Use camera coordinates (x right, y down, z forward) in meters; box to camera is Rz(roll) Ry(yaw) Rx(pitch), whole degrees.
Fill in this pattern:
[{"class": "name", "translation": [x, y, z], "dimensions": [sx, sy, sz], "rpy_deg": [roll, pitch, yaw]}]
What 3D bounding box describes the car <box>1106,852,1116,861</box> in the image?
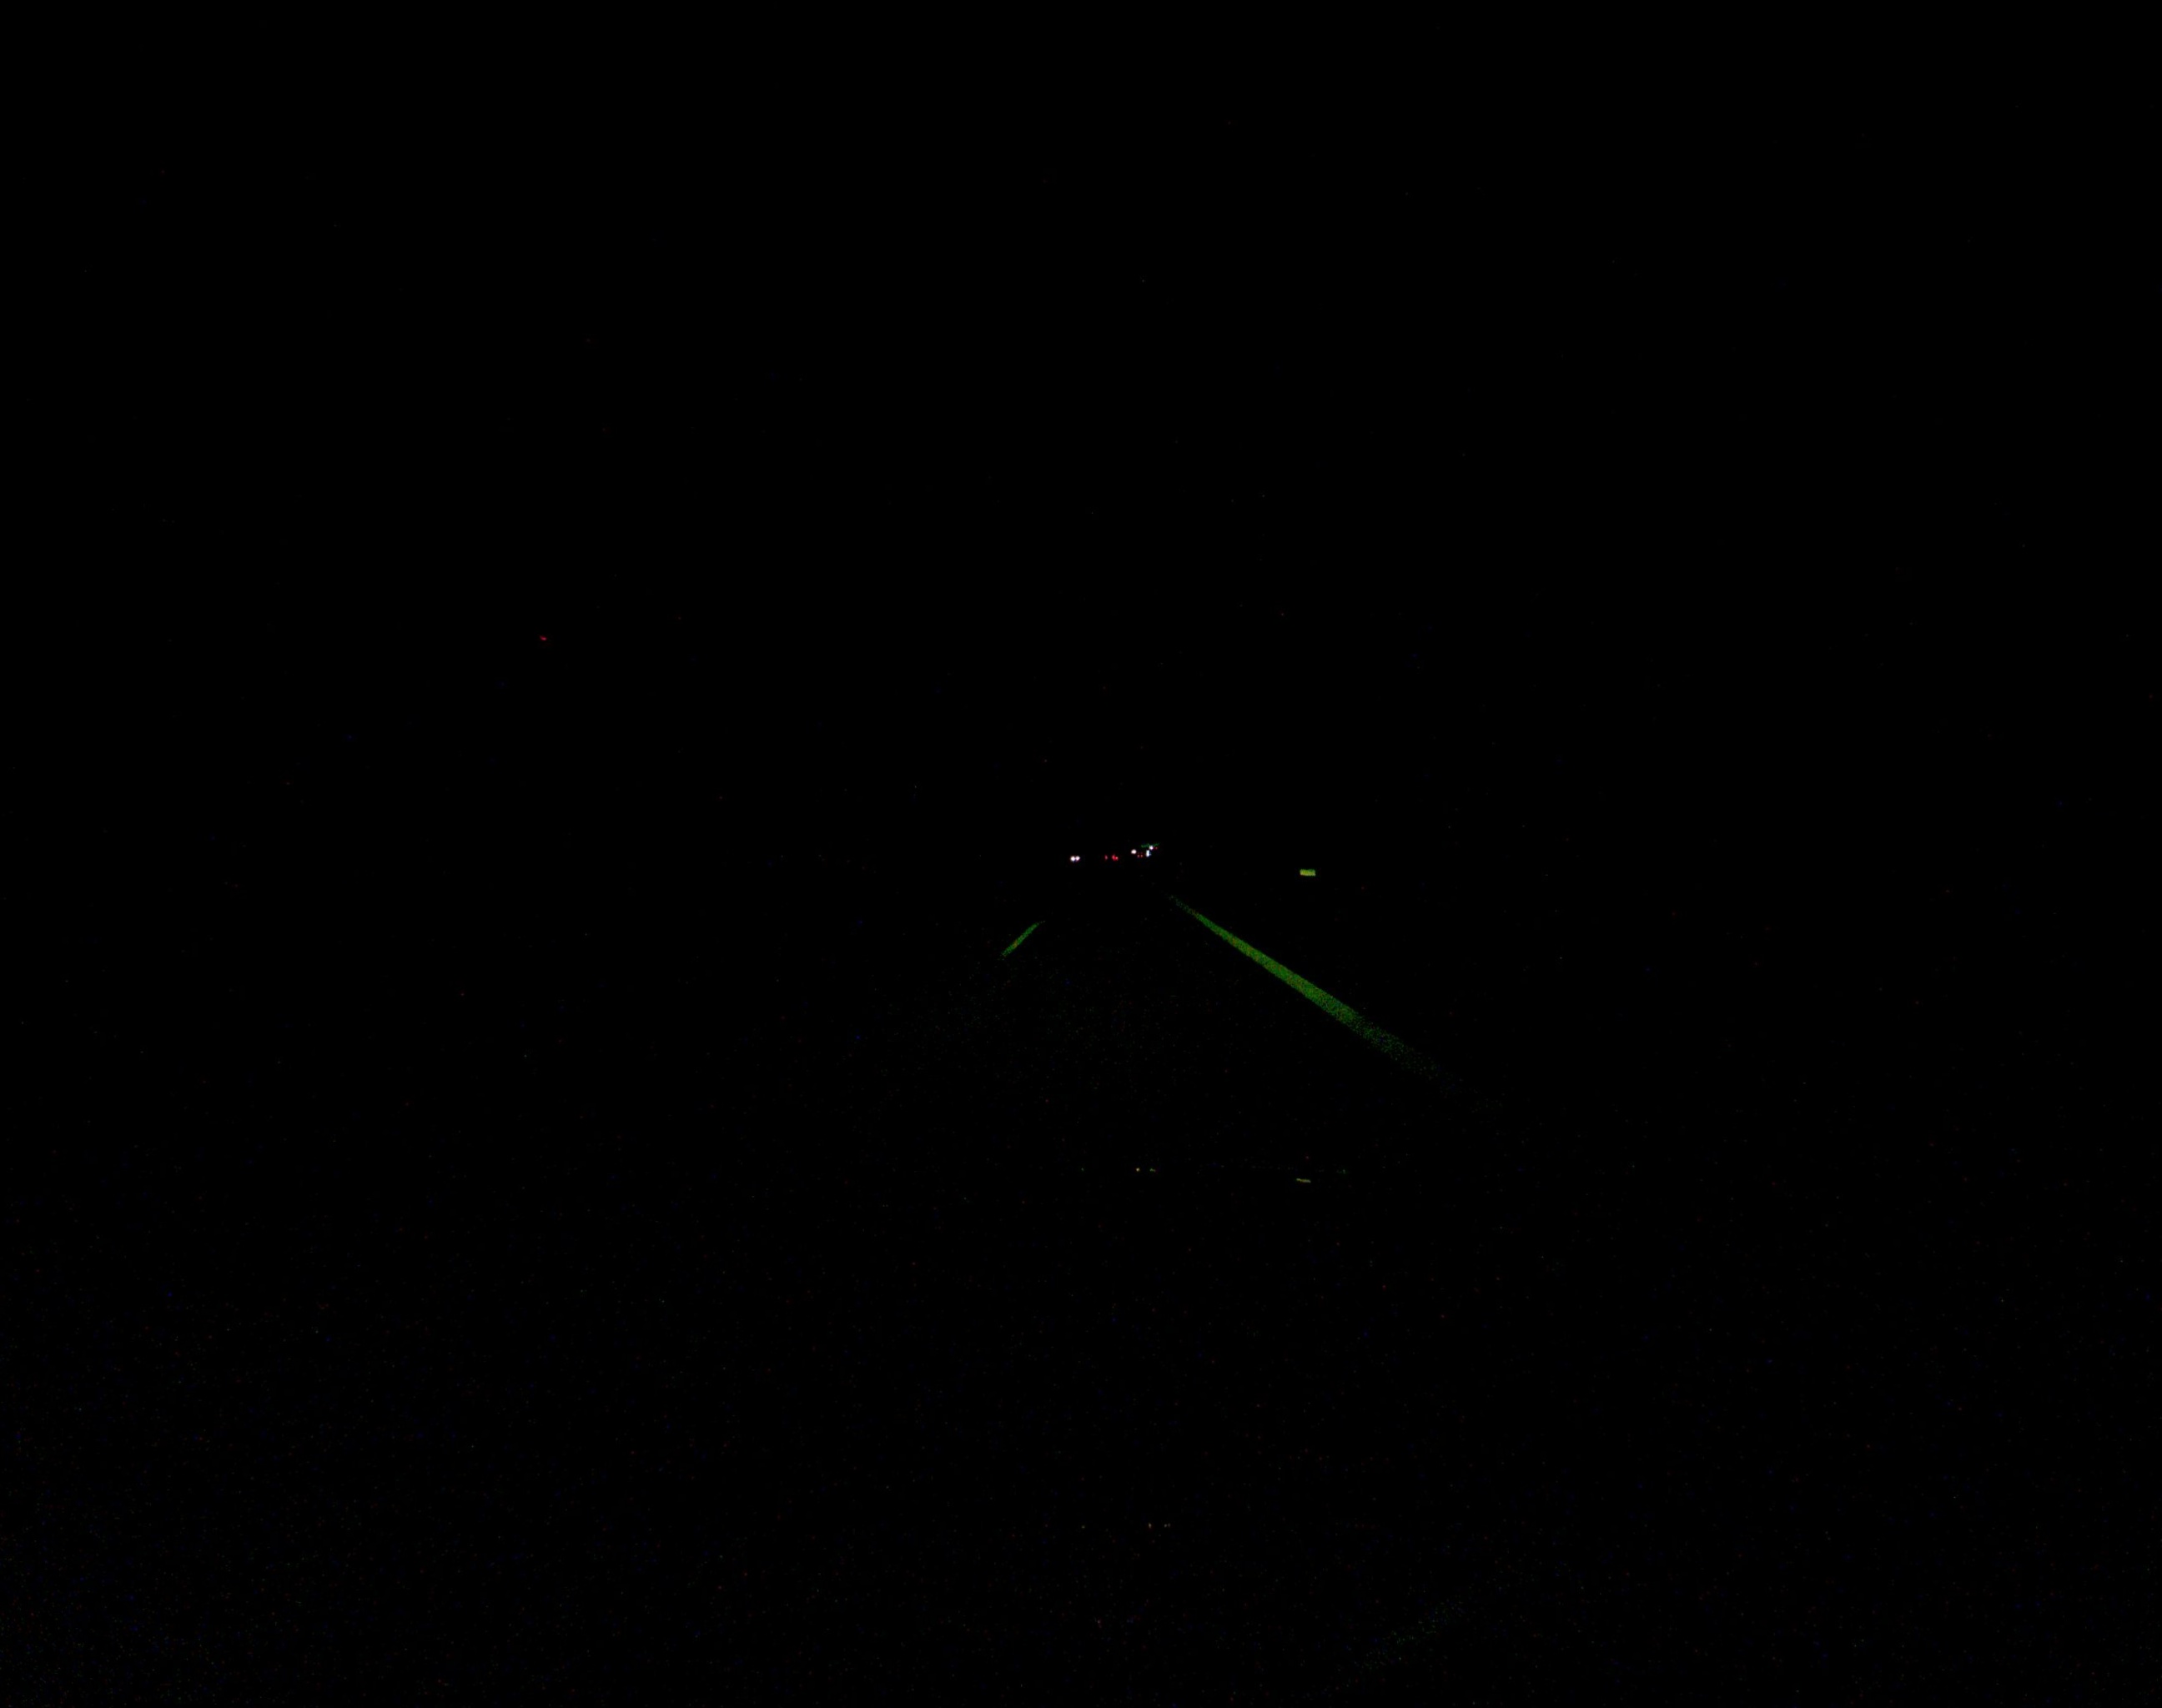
[{"class": "car", "translation": [7.857, 0.643, 214.476], "dimensions": [2.499, 2.314, 4.976], "rpy_deg": [-1, 0, 4]}]
